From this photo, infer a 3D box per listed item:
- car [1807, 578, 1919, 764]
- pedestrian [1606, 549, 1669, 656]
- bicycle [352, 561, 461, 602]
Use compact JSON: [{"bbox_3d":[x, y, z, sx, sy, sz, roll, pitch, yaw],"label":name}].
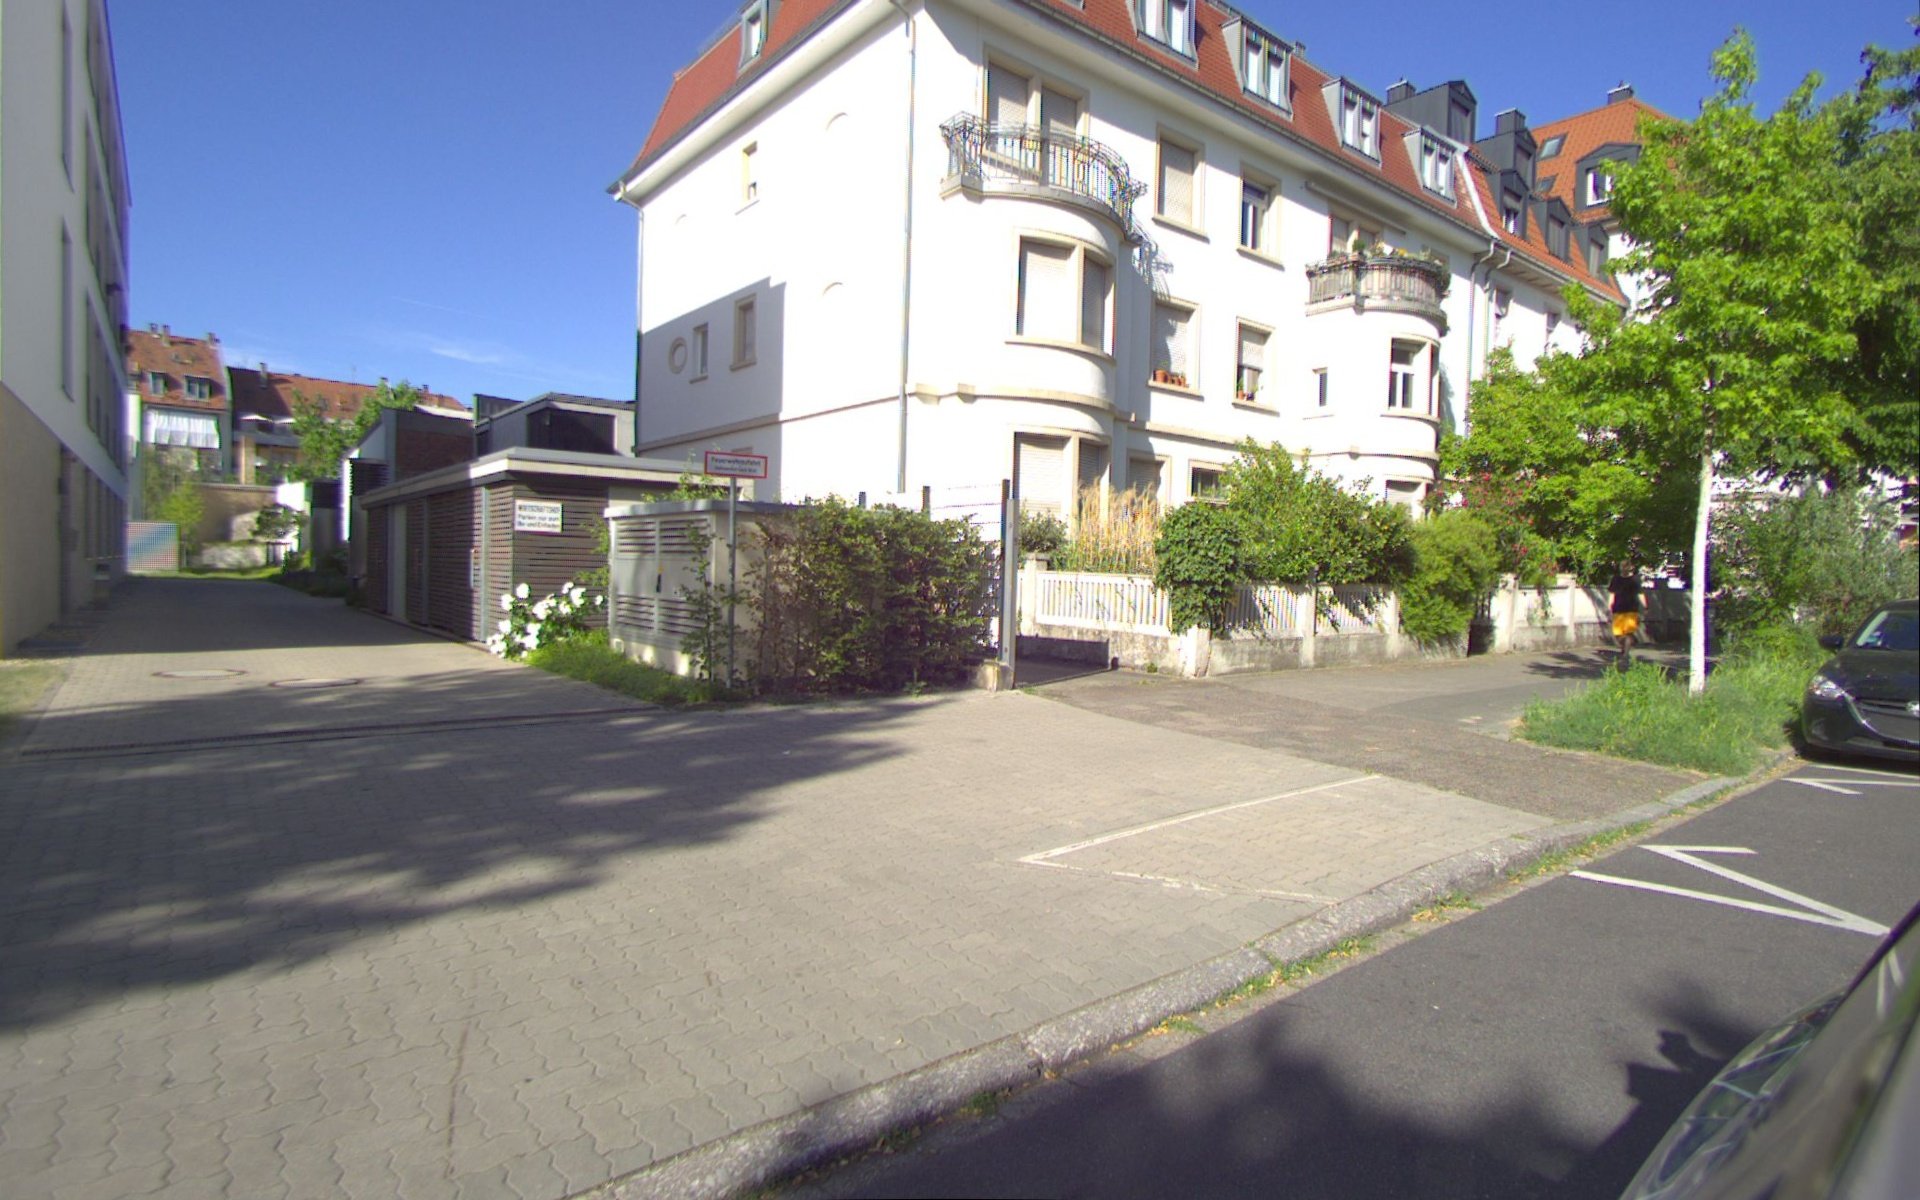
[{"bbox_3d":[9.369,0.585,9.223,4.008,1.466,1.705,0,3,-38],"label":"car"},{"bbox_3d":[11.729,0.035,17.530,0.785,1.796,0.624,0,3,-39],"label":"pedestrian"},{"bbox_3d":[-13.509,-0.447,24.723,2.268,0.936,0.660,0,2,-36],"label":"bicycle"}]
